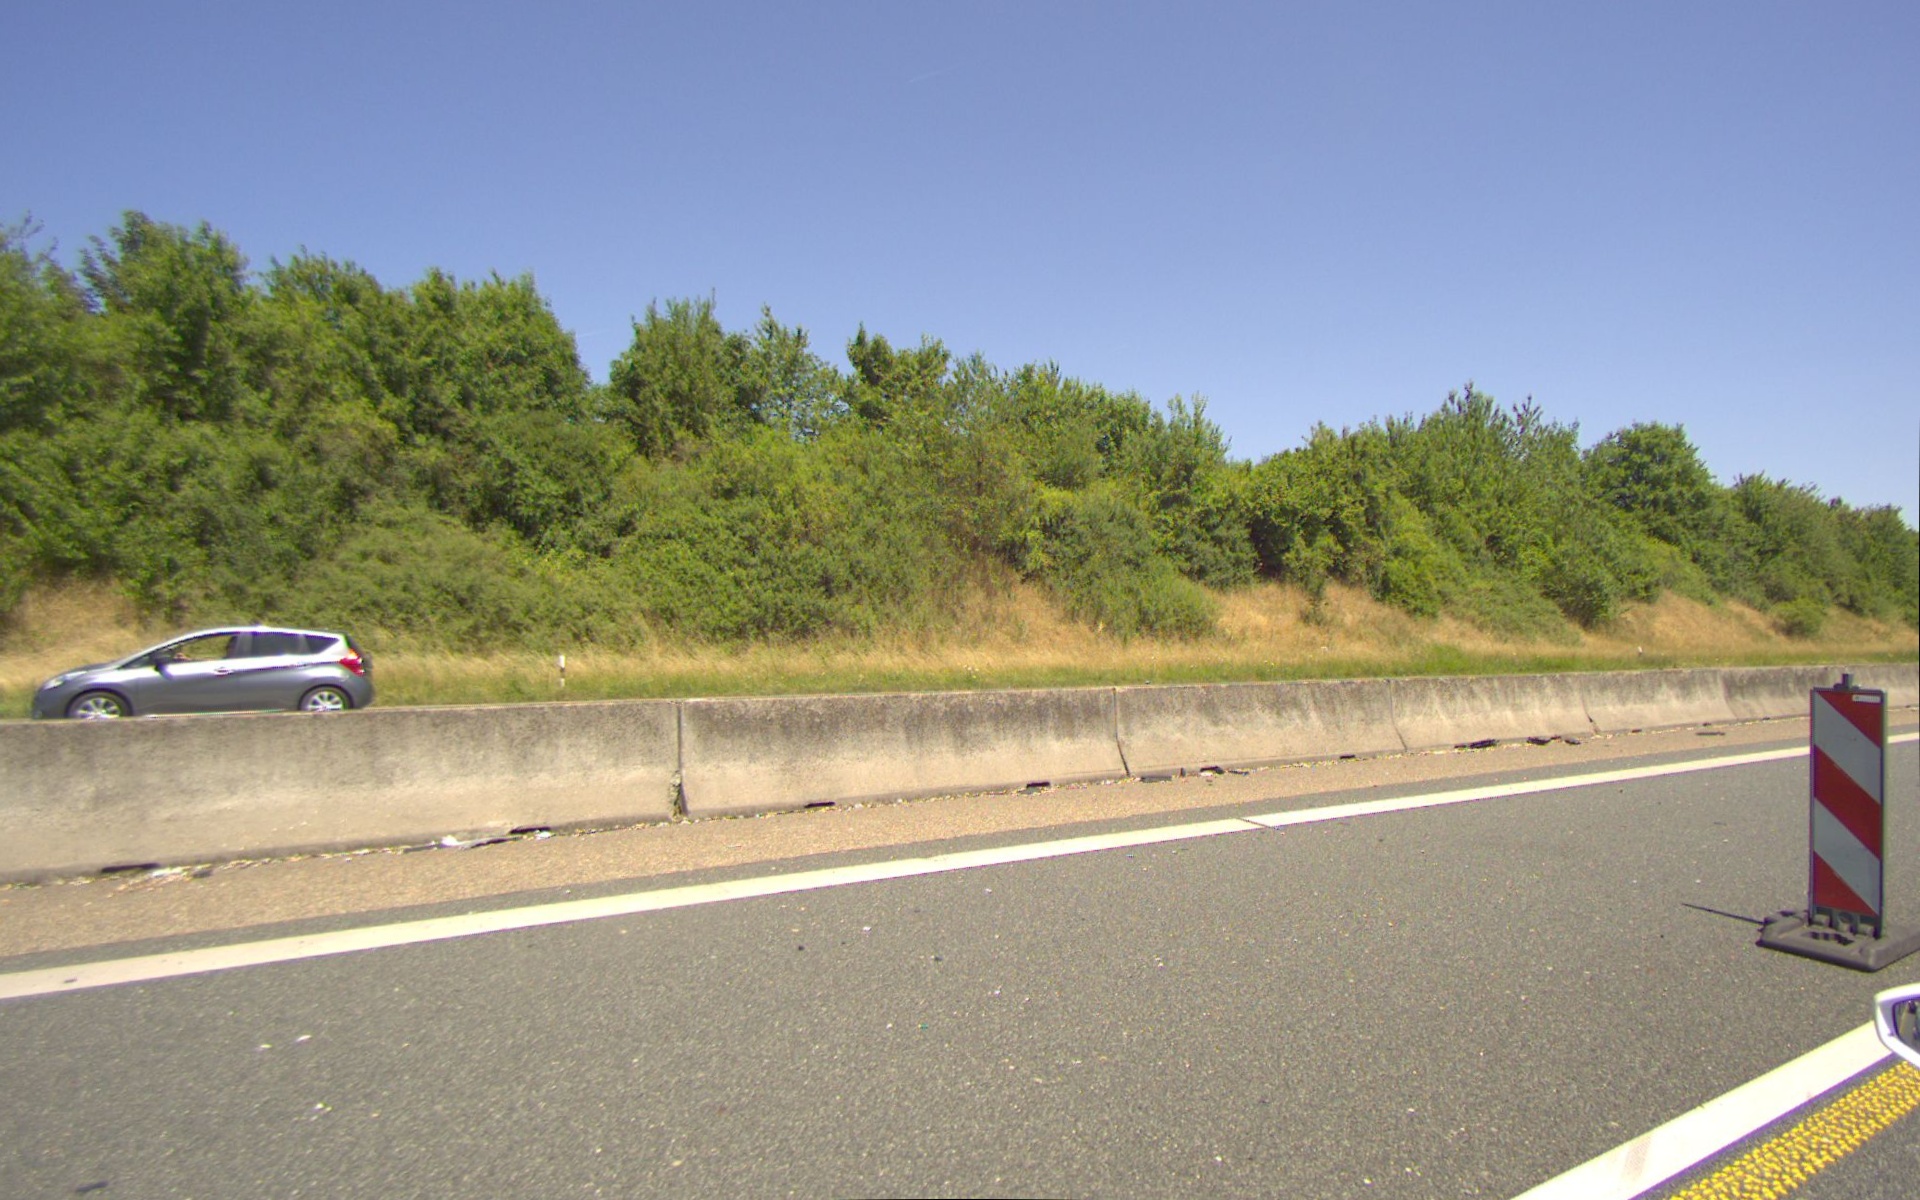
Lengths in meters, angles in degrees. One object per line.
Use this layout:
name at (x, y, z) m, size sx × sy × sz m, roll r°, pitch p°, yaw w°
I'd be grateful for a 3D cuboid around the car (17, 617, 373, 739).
car at (-10.889, 1.067, 14.692) m, size 3.955 × 1.568 × 1.492 m, roll 1°, pitch -2°, yaw -31°
